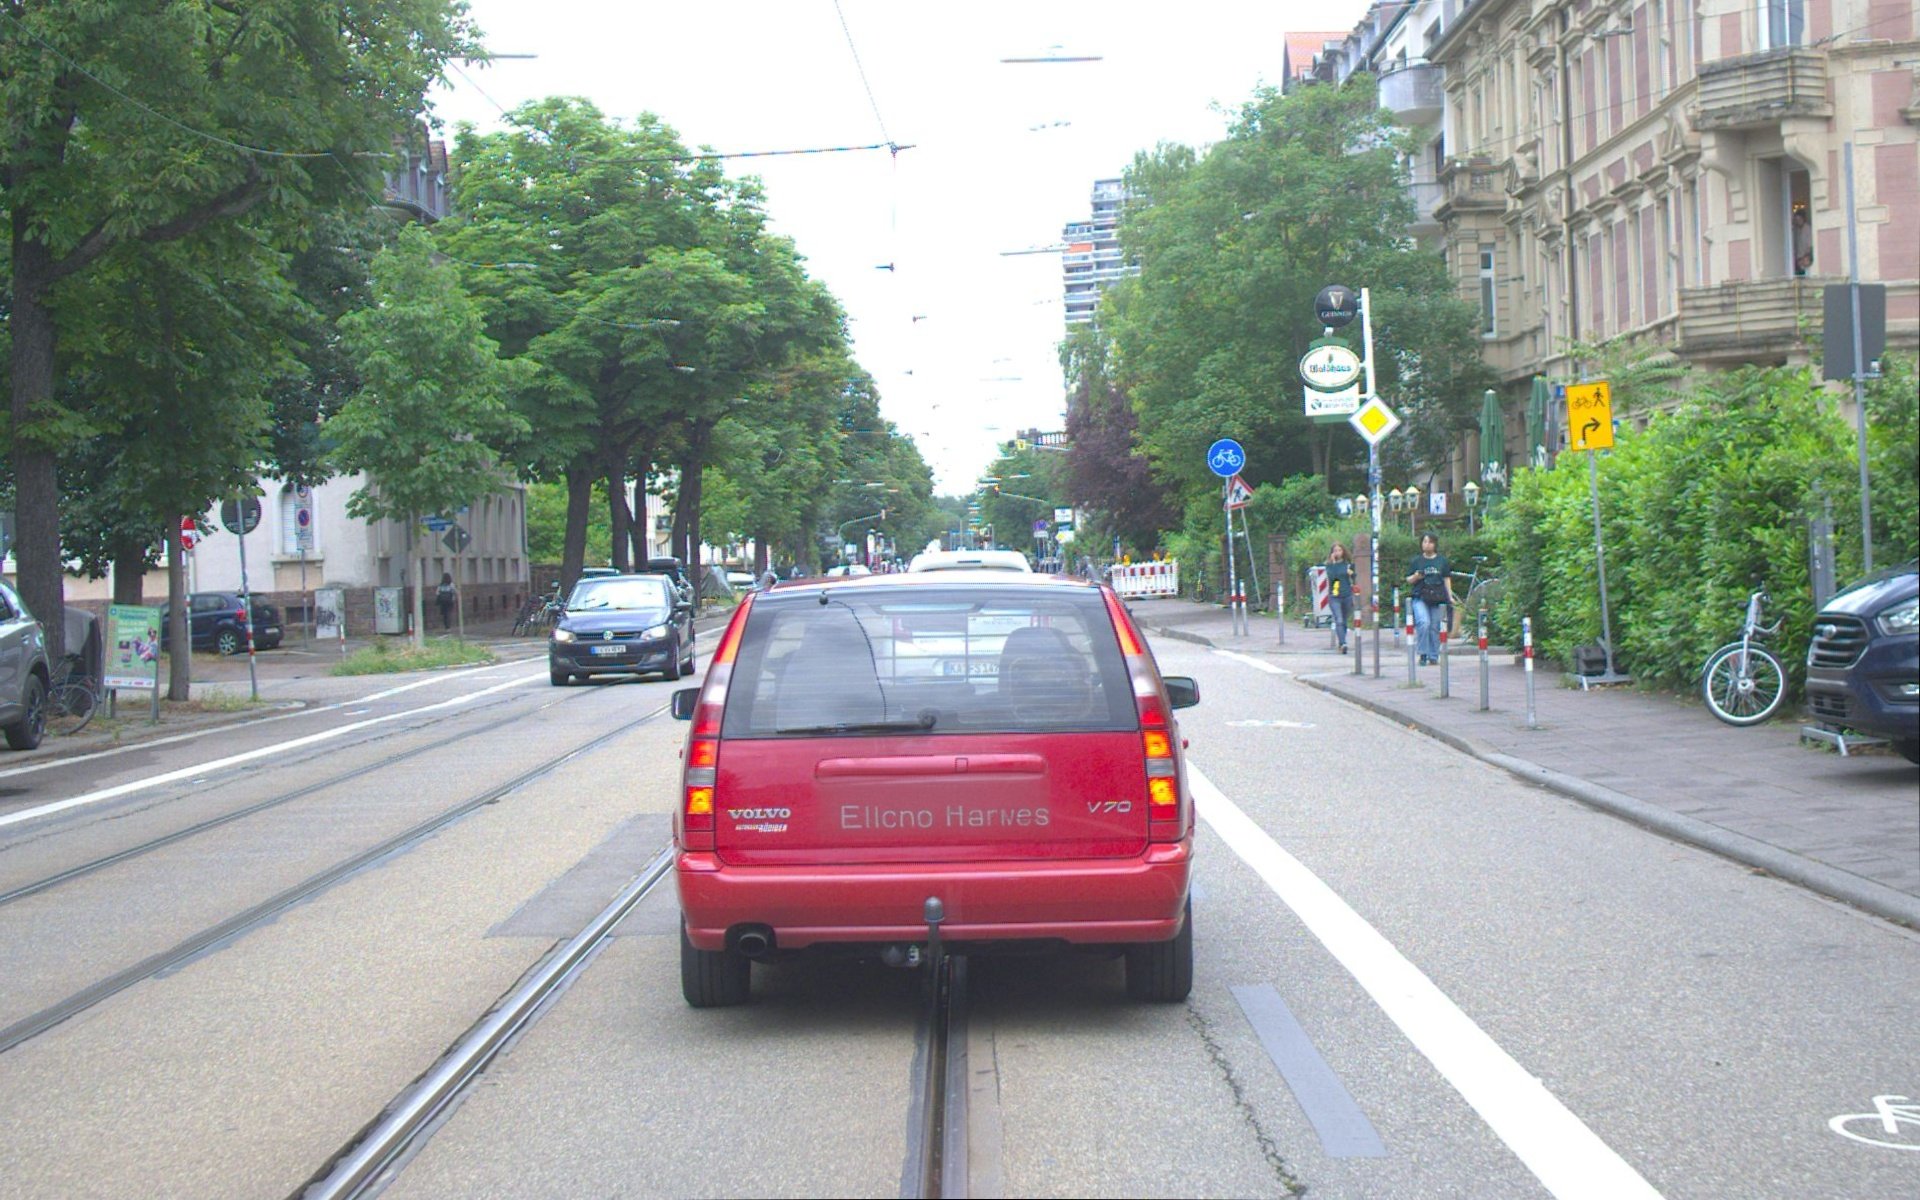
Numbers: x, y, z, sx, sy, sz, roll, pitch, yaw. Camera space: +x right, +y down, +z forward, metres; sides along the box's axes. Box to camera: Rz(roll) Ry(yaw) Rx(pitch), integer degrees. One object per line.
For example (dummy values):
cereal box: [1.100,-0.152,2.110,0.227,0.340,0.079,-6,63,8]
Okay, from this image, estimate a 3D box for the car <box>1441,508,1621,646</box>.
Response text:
car: [8.476,-0.374,50.732,2.053,1.871,5.026,-2,1,15]

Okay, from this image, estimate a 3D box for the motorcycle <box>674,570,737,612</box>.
motorcycle: [-9.588,-0.329,129.445,2.269,1.506,0.925,-2,-1,35]

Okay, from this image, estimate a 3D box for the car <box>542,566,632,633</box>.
car: [-9.583,-0.034,88.554,1.897,1.650,4.225,-1,1,-1]

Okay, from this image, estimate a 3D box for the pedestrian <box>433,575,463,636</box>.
pedestrian: [-12.503,0.127,84.001,0.564,1.462,0.723,-2,0,0]

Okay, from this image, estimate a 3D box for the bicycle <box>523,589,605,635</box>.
bicycle: [-9.718,0.294,84.386,1.922,1.117,0.624,0,0,0]

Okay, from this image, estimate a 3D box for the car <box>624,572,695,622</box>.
car: [-9.383,-0.106,107.596,1.777,1.505,4.237,-1,1,1]

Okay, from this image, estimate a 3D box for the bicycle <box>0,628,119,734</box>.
bicycle: [-9.263,0.800,34.469,1.376,1.001,0.929,1,1,4]

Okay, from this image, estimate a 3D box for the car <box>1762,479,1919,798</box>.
car: [7.199,0.084,20.599,4.281,1.803,1.823,-4,1,2]

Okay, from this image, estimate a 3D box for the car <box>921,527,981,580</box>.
car: [-0.303,-1.460,109.020,1.741,1.600,4.000,-2,0,-2]

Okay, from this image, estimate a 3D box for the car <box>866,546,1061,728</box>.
car: [0.089,0.324,33.471,1.719,1.619,3.941,-2,0,2]

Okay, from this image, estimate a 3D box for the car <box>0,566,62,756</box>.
car: [-9.343,0.536,29.940,1.837,1.655,4.293,0,1,1]

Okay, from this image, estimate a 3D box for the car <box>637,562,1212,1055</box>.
car: [-0.018,0.601,12.070,1.689,1.436,3.742,-1,1,3]

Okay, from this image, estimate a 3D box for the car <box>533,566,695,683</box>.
car: [-4.536,0.293,45.472,1.729,1.404,3.655,-2,1,0]

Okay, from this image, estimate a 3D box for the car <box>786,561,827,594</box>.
car: [-7.787,-1.147,174.511,1.851,1.558,3.943,-2,0,0]

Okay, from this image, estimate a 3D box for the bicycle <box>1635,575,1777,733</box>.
bicycle: [5.821,0.400,26.910,0.632,1.124,1.812,-4,1,0]

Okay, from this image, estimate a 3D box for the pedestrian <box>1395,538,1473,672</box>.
pedestrian: [5.970,0.056,43.351,0.793,1.630,0.836,-3,0,0]

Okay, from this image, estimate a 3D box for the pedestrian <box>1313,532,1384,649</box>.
pedestrian: [5.648,-0.147,49.920,0.873,1.650,0.908,-2,1,13]

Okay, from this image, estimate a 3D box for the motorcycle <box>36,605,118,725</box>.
motorcycle: [-9.743,0.702,37.993,0.539,1.253,2.143,-2,1,-6]
